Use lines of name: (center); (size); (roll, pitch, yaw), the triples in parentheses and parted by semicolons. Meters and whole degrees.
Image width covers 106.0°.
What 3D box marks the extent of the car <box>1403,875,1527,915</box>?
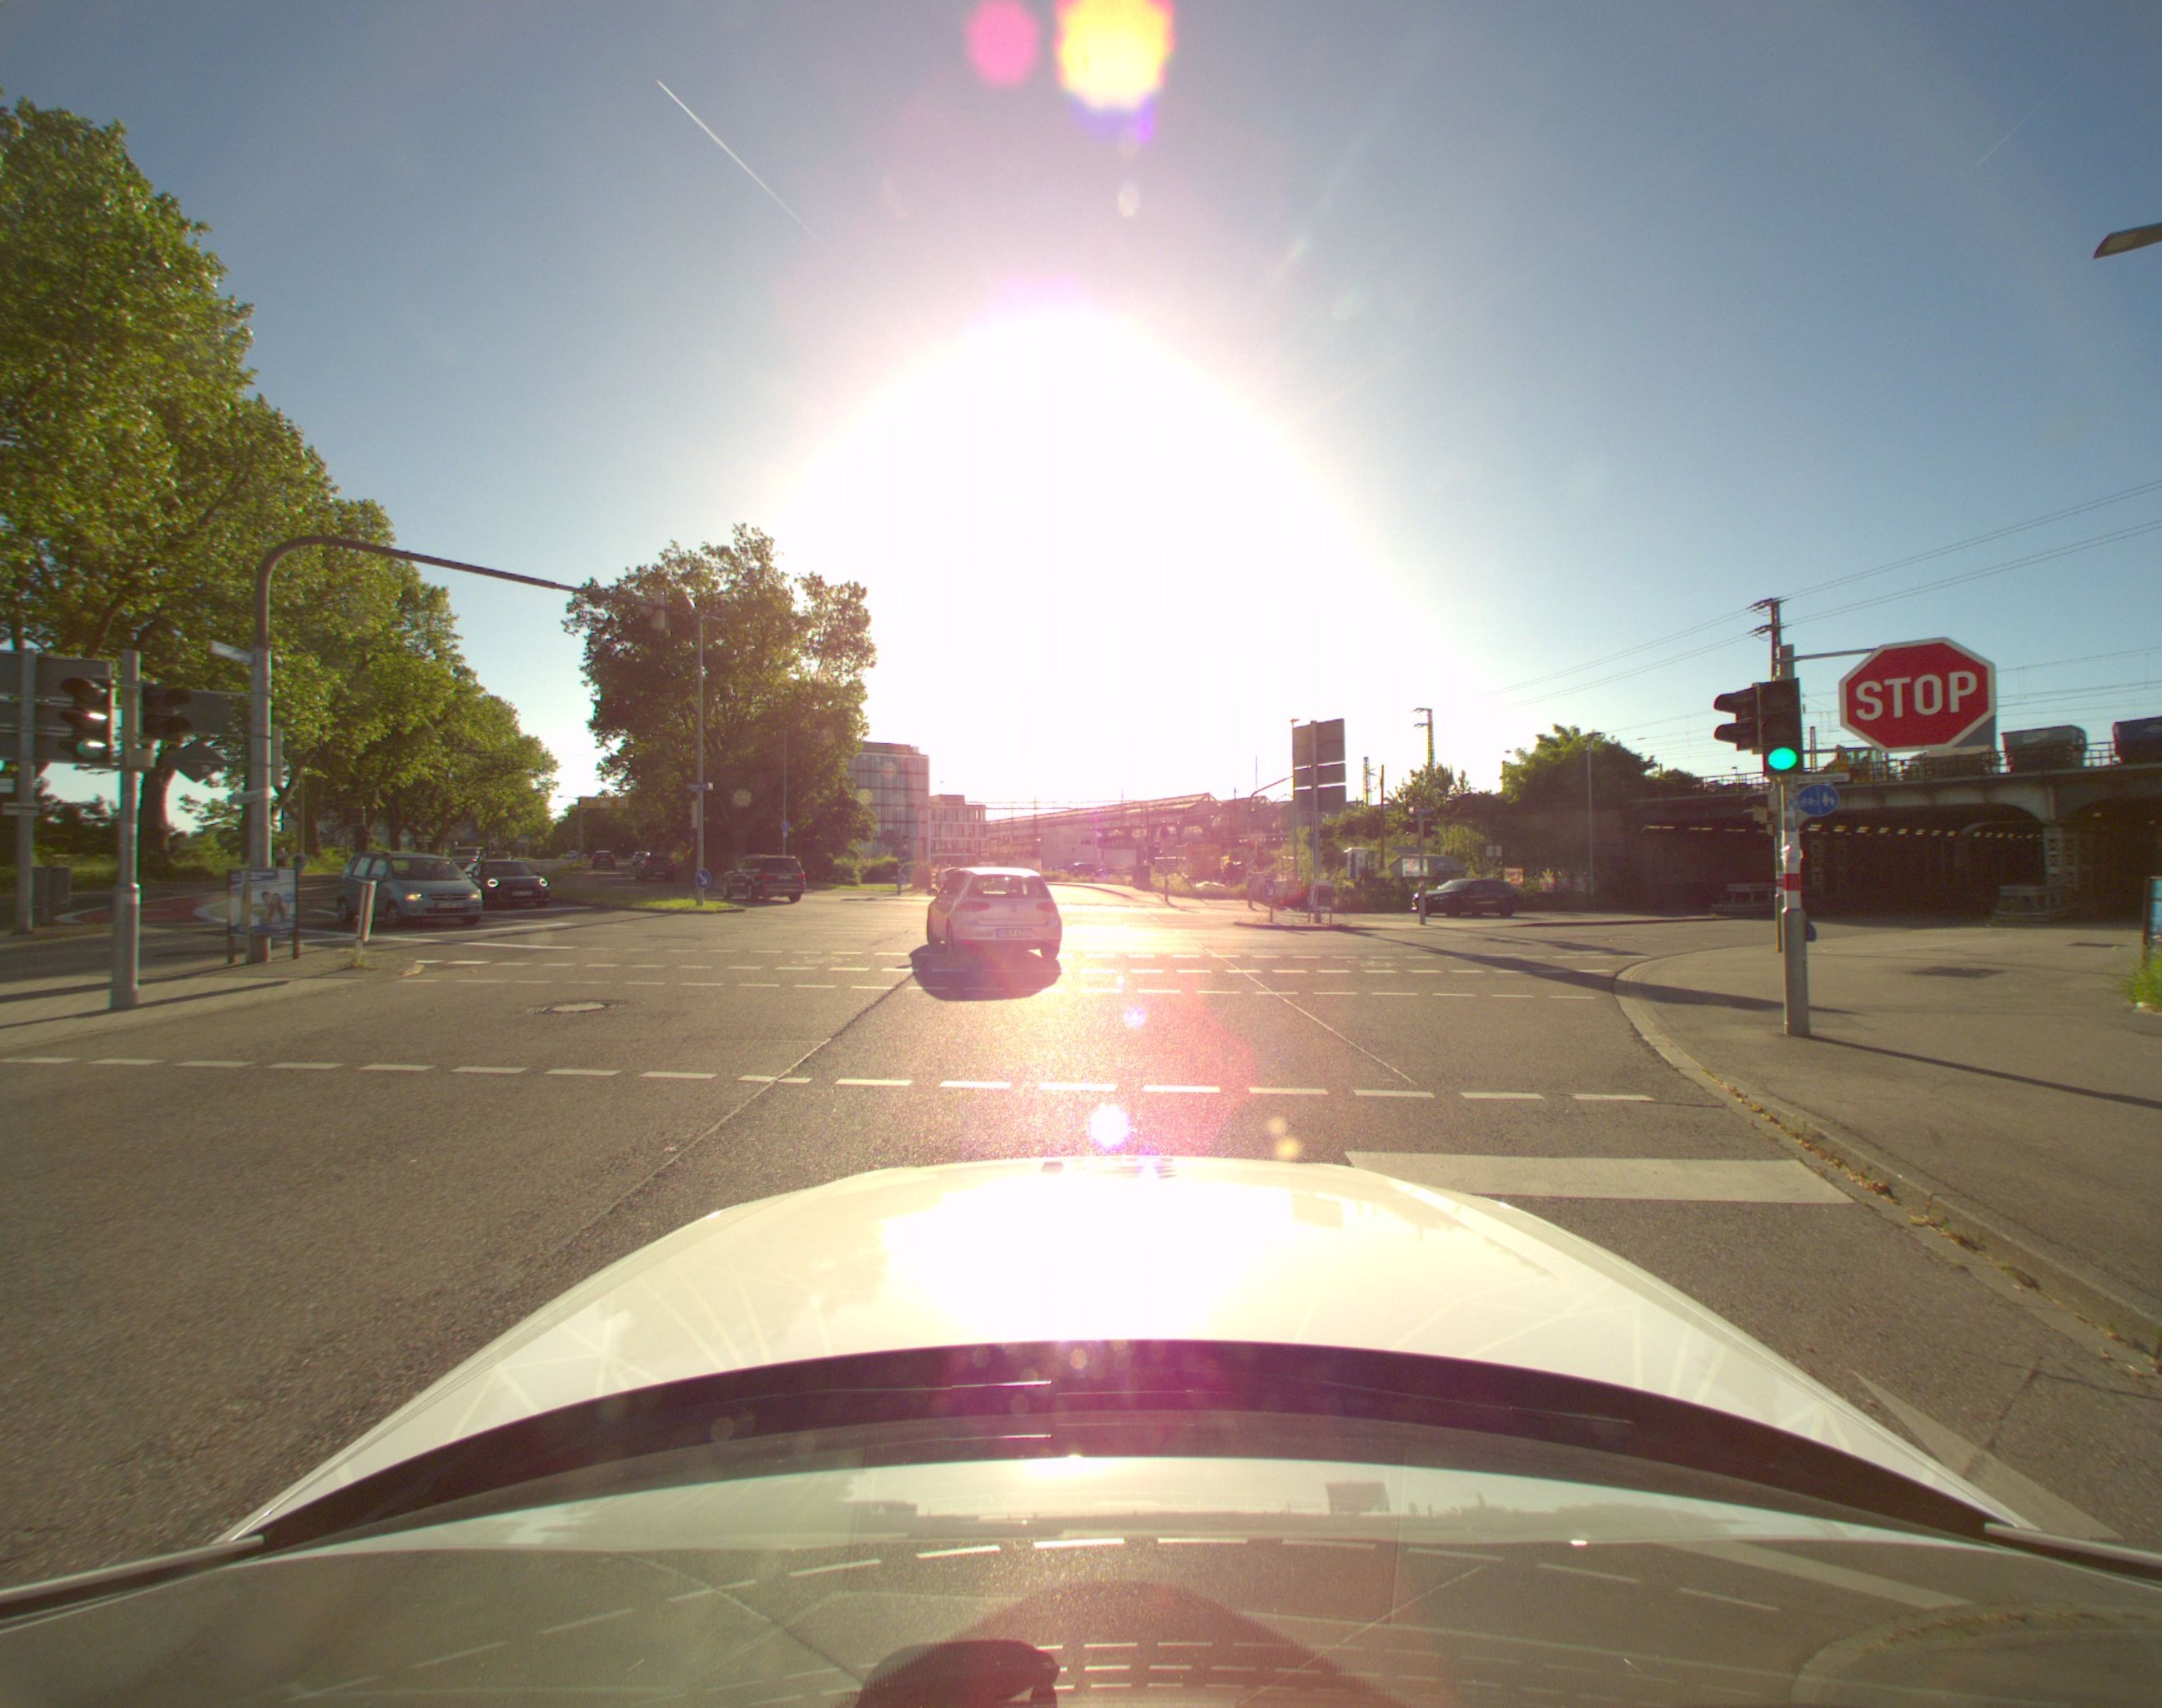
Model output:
car: (15.452, 1.622, 32.801); (4.385, 1.518, 1.944); (1, -2, -19)

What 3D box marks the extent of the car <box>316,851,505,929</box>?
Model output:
car: (-15.600, 0.776, 18.940); (4.069, 1.636, 1.932); (0, -1, 28)

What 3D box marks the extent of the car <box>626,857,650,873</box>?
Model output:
car: (-46.419, 1.137, 85.260); (1.866, 1.650, 4.222); (1, -1, -33)

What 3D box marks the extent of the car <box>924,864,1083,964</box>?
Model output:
car: (-1.477, 0.902, 13.969); (1.975, 1.427, 3.914); (0, -1, -17)

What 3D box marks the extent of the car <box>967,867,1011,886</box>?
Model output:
car: (-7.489, 1.781, 66.159); (1.762, 1.476, 3.954); (1, -1, -38)

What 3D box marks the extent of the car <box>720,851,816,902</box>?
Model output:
car: (-12.588, 0.863, 32.586); (2.130, 1.887, 4.756); (1, -1, -40)

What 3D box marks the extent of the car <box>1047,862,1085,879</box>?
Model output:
car: (-1.712, 1.892, 92.077); (4.003, 1.788, 1.643); (1, -1, -23)

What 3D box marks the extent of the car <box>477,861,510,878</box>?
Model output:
car: (-56.962, 1.516, 78.967); (1.863, 1.599, 4.288); (1, -1, -26)

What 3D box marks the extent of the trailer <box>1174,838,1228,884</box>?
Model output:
trailer: (9.110, 0.598, 62.400); (2.987, 3.292, 6.664); (1, -1, -1)

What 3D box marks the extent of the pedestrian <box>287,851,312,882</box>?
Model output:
pedestrian: (-41.333, 0.646, 43.066); (0.732, 1.592, 0.797); (1, -1, -29)

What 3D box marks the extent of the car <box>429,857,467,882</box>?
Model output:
car: (-46.560, 1.098, 59.957); (1.866, 1.743, 4.222); (1, -1, -33)

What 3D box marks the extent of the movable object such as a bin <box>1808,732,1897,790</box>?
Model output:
movable object such as a bin: (37.604, -4.460, 39.672); (4.846, 2.226, 1.980); (2, -1, -31)

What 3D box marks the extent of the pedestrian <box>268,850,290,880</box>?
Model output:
pedestrian: (-42.228, 0.572, 42.889); (0.667, 1.586, 0.625); (1, -1, -29)

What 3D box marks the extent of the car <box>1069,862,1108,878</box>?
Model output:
car: (0.813, 1.781, 88.943); (4.003, 1.706, 1.603); (1, -1, -23)

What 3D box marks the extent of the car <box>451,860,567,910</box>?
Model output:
car: (-17.686, 0.905, 25.136); (3.886, 1.427, 1.921); (0, -1, 39)

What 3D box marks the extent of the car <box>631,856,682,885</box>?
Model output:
car: (-26.038, 0.998, 49.876); (1.958, 1.713, 4.152); (1, -1, -39)

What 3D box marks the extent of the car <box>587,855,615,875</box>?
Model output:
car: (-42.535, 0.965, 72.239); (1.864, 1.743, 4.228); (1, -1, -27)

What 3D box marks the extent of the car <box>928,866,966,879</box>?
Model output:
car: (-21.050, 2.914, 128.320); (5.747, 1.845, 1.896); (1, -1, -37)
